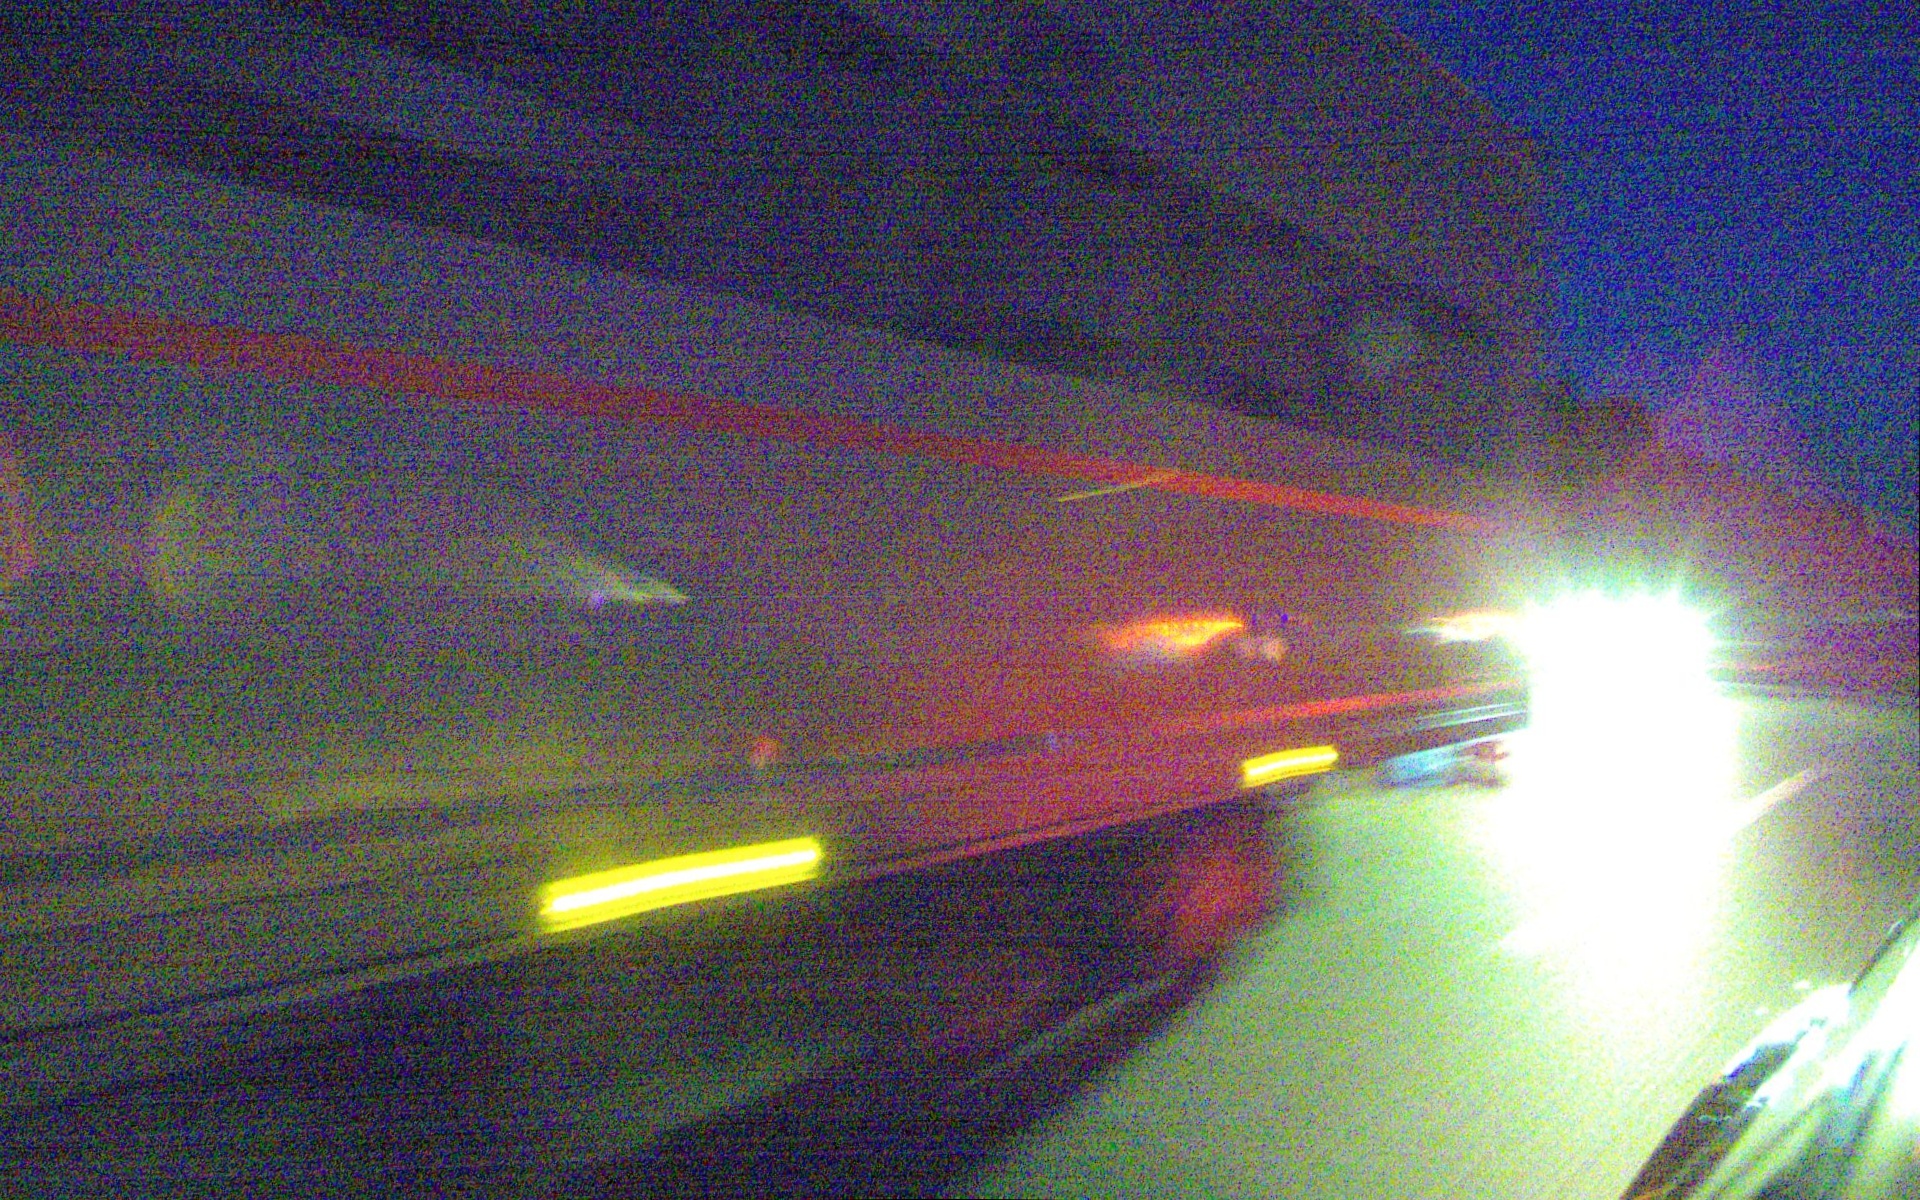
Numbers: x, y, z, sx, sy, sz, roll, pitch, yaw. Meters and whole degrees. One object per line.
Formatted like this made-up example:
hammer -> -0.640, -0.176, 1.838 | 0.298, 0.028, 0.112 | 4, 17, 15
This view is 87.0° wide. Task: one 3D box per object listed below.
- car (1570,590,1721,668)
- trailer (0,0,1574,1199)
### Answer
car -> 14.476, 0.548, 21.283 | 4.178, 1.485, 1.822 | 0, -1, -44
trailer -> -2.624, -0.729, 2.120 | 13.274, 4.260, 2.746 | 0, -1, -41
